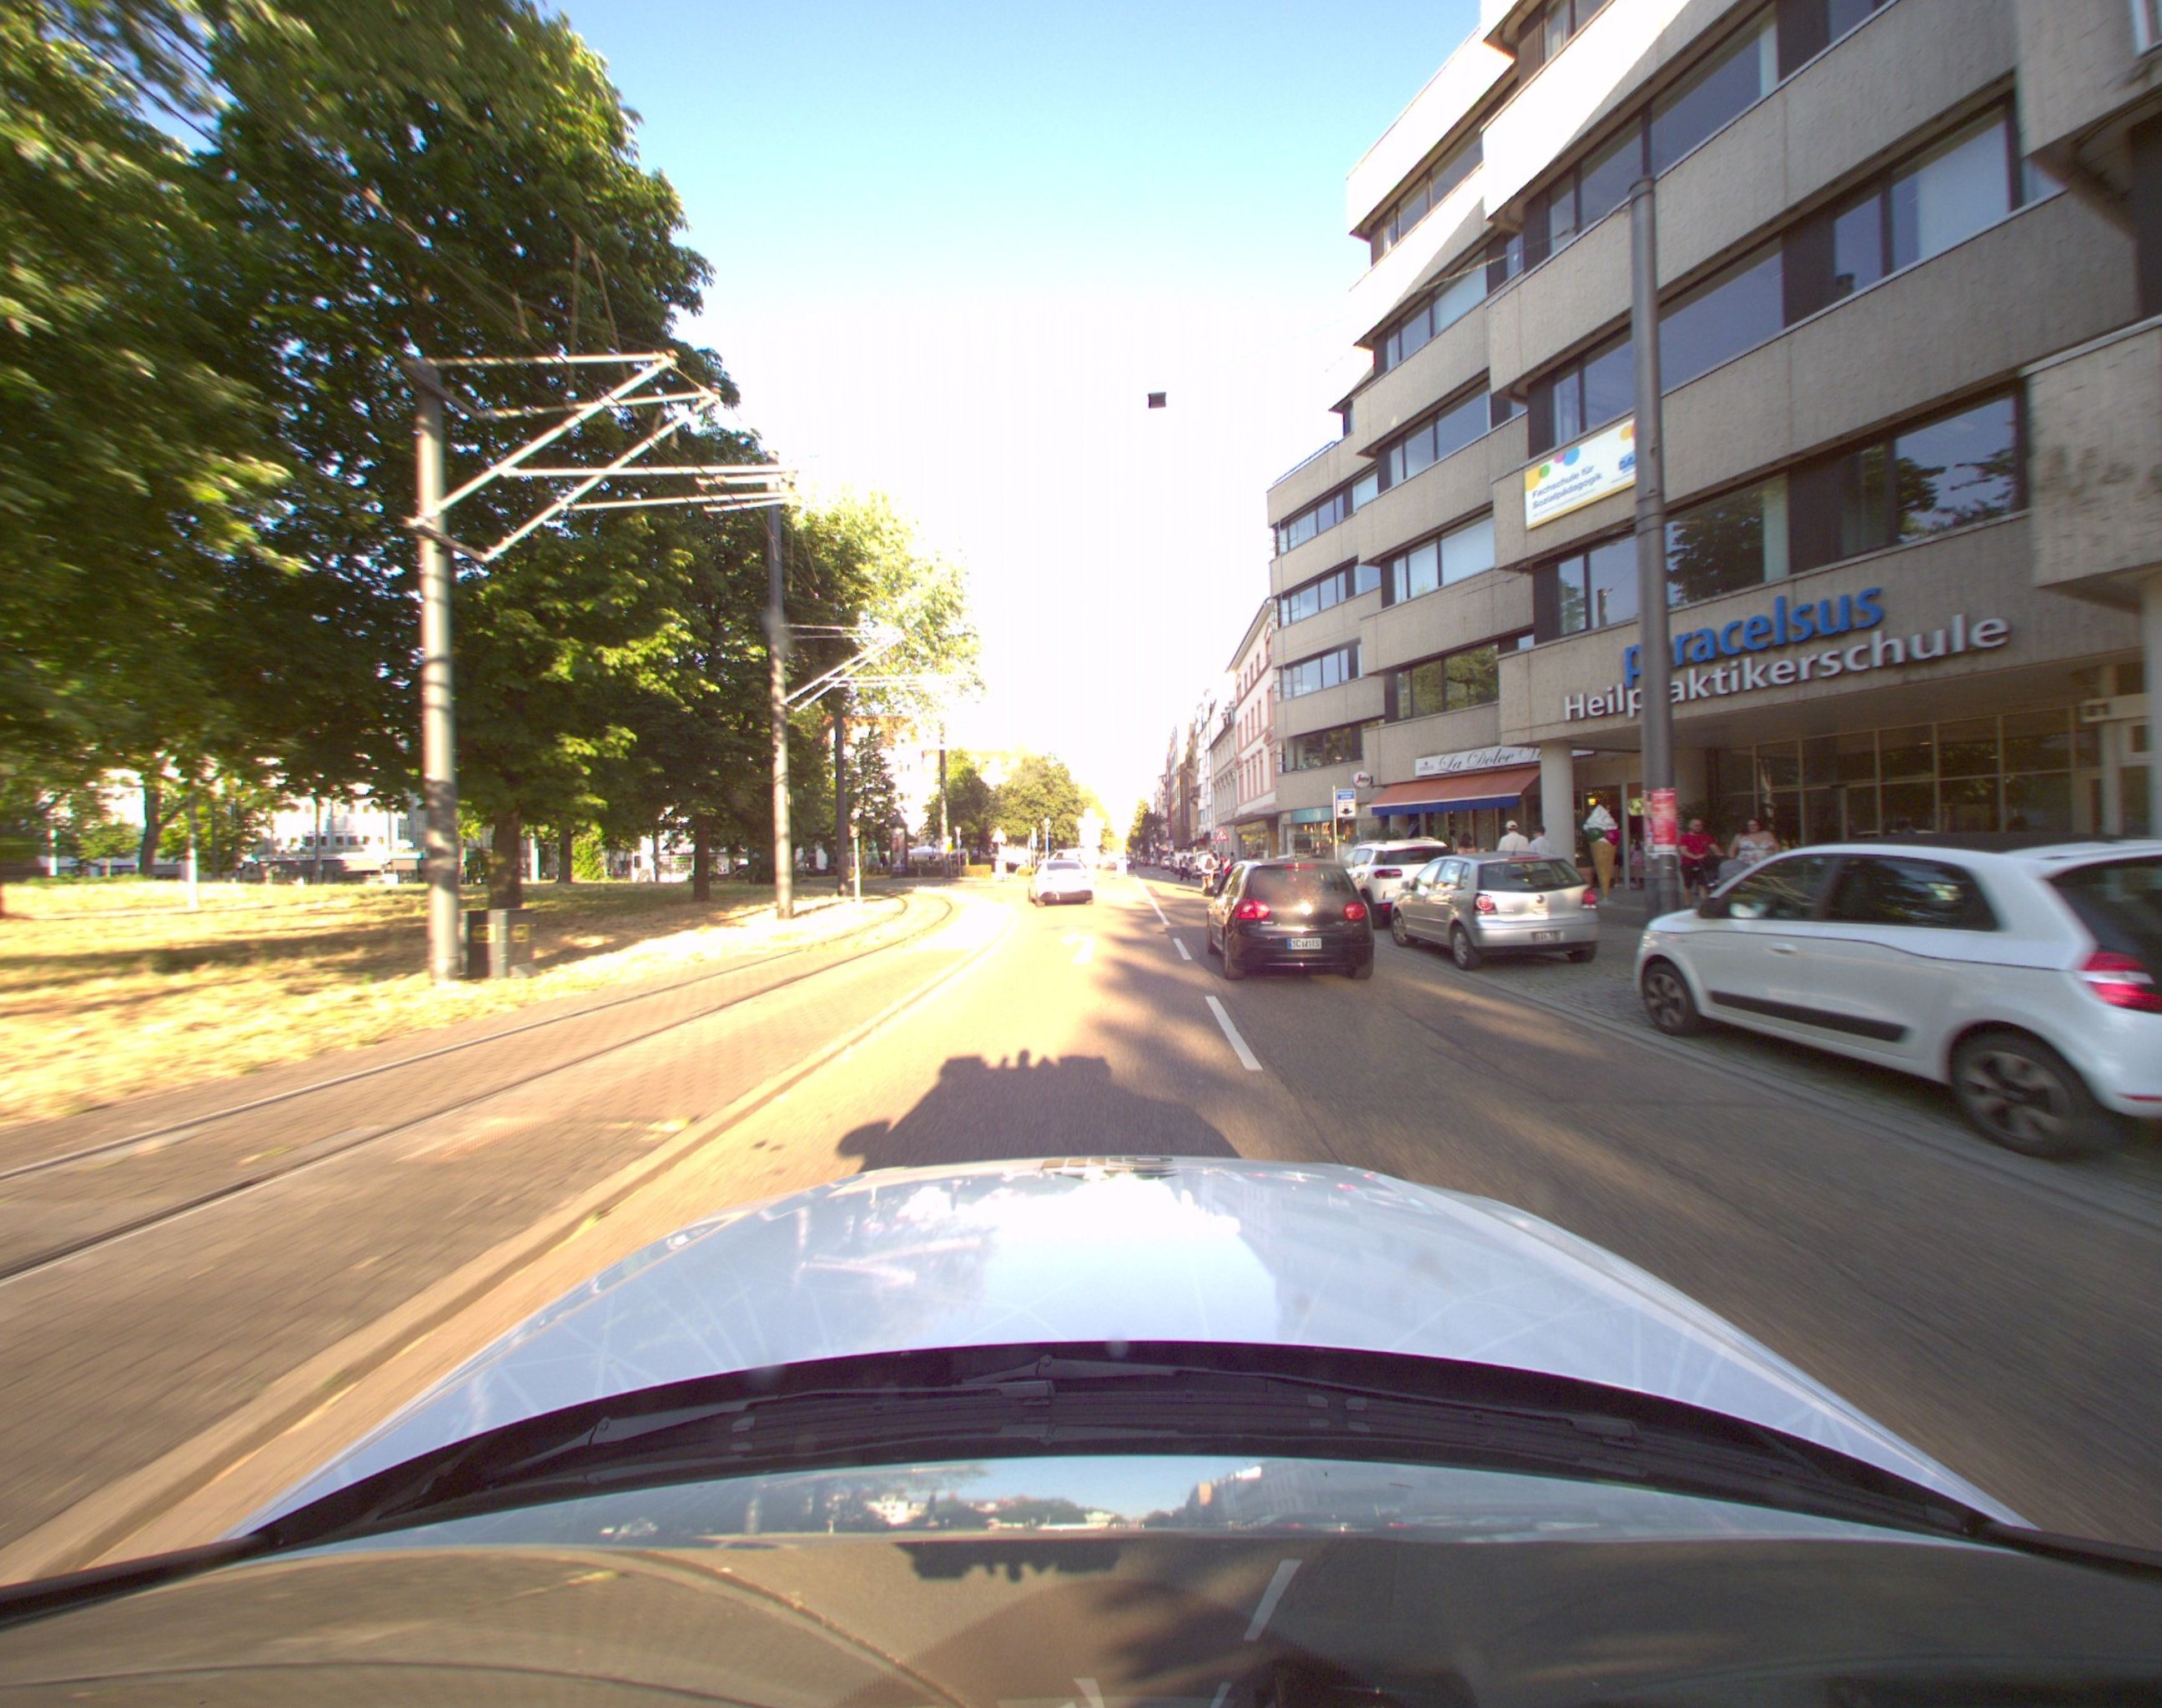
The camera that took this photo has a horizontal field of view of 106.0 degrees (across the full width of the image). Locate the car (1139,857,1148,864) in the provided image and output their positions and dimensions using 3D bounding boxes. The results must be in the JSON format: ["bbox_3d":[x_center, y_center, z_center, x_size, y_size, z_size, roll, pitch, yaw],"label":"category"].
[{"bbox_3d":[13.532,1.367,177.216,1.745,1.511,3.546,-3,0,1],"label":"car"}]

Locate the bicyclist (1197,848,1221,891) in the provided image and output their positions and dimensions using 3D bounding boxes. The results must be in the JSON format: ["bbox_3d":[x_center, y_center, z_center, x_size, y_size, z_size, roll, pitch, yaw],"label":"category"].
[{"bbox_3d":[4.922,0.594,31.323,0.774,1.618,1.026,0,-1,2],"label":"bicyclist"}]

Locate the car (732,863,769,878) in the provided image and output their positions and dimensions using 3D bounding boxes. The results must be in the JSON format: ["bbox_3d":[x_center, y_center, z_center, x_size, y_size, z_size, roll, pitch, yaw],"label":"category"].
[{"bbox_3d":[-36.086,1.814,88.986,3.625,1.552,1.651,-1,-1,-20],"label":"car"}]

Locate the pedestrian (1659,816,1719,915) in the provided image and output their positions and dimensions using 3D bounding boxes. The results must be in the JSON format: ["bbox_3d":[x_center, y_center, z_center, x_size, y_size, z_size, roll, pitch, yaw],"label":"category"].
[{"bbox_3d":[11.102,0.192,14.862,0.690,1.727,1.039,-3,0,44],"label":"pedestrian"}]

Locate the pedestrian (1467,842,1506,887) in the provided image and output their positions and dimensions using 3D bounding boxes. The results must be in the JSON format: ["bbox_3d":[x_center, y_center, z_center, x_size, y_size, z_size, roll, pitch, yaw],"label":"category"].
[{"bbox_3d":[12.004,0.318,24.119,0.770,1.281,0.656,-3,-1,-26],"label":"pedestrian"}]

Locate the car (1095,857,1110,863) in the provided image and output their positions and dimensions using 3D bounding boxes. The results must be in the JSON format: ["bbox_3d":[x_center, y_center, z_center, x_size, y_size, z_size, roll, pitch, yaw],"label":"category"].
[{"bbox_3d":[5.229,1.459,200.131,3.381,1.287,1.665,-1,0,-13],"label":"car"}]

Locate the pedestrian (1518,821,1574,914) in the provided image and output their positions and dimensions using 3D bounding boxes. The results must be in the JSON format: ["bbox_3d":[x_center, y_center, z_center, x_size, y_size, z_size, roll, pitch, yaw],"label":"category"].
[{"bbox_3d":[9.121,0.257,16.009,0.620,1.740,0.662,-4,-1,3],"label":"pedestrian"}]

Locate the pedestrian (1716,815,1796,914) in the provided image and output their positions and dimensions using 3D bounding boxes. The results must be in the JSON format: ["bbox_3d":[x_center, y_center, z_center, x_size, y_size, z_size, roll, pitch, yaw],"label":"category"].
[{"bbox_3d":[11.849,0.185,14.311,0.980,1.673,0.645,-3,0,44],"label":"pedestrian"}]

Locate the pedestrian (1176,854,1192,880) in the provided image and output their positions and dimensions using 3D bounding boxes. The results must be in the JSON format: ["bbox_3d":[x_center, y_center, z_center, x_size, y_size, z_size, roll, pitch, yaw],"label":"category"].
[{"bbox_3d":[6.211,0.784,49.183,0.729,1.555,0.636,-1,-1,28],"label":"pedestrian"}]

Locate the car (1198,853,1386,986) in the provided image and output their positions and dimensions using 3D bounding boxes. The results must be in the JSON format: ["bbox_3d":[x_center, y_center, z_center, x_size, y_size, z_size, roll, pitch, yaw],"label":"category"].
[{"bbox_3d":[2.658,0.737,11.178,1.740,1.461,4.107,-1,0,4],"label":"car"}]

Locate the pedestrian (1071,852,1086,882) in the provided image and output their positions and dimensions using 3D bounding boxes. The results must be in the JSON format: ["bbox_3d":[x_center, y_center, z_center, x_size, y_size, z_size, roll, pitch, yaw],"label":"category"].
[{"bbox_3d":[-0.159,0.769,48.063,0.858,1.706,0.940,-1,-1,-4],"label":"pedestrian"}]

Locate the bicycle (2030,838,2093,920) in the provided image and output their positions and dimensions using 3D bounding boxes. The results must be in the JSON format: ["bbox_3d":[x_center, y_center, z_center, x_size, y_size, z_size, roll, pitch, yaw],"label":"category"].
[{"bbox_3d":[14.393,0.342,11.943,1.767,1.072,0.478,-3,0,-37],"label":"bicycle"}]

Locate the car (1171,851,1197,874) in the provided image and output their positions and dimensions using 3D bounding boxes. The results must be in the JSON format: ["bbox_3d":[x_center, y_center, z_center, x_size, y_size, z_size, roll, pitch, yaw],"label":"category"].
[{"bbox_3d":[8.964,0.714,71.142,1.917,1.841,4.021,-3,-1,4],"label":"car"}]

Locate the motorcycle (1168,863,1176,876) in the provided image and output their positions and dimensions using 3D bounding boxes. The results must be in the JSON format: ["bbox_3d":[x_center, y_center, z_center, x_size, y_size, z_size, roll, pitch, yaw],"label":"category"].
[{"bbox_3d":[8.985,1.500,80.425,0.486,1.174,1.604,-4,0,-4],"label":"motorcycle"}]

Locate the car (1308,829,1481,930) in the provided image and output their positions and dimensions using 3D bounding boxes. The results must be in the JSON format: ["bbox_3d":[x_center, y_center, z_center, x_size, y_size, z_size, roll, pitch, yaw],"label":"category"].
[{"bbox_3d":[6.340,0.467,17.091,1.861,1.713,4.505,-4,0,1],"label":"car"}]

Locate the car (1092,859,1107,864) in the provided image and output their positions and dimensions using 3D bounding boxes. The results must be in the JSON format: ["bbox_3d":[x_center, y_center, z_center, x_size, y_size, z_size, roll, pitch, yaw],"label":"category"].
[{"bbox_3d":[4.324,1.731,192.375,3.381,1.287,1.665,-1,0,-13],"label":"car"}]

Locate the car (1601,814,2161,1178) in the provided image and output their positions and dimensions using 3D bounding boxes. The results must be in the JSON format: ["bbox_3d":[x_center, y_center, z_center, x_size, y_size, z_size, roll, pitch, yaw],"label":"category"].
[{"bbox_3d":[5.412,0.607,5.406,1.601,1.556,3.611,-4,0,2],"label":"car"}]

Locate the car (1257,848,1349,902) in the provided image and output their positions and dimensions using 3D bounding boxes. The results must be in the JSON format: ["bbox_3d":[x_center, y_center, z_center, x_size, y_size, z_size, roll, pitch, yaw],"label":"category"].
[{"bbox_3d":[6.736,0.599,25.124,1.657,1.441,3.821,-4,0,-1],"label":"car"}]

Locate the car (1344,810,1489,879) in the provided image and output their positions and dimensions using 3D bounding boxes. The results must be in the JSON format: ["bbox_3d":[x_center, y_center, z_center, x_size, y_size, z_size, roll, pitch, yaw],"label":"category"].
[{"bbox_3d":[13.324,-0.377,32.292,5.340,2.442,2.075,-3,-1,-23],"label":"car"}]

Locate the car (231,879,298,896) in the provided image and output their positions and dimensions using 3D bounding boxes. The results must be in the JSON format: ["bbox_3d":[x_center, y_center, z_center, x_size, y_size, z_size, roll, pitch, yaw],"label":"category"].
[{"bbox_3d":[-78.588,3.199,78.452,4.002,1.464,1.986,-1,-1,-21],"label":"car"}]

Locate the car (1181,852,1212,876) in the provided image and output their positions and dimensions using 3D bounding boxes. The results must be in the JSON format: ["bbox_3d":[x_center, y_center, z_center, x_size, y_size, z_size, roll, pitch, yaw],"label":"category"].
[{"bbox_3d":[8.270,0.697,58.622,1.728,1.617,3.919,-3,0,2],"label":"car"}]

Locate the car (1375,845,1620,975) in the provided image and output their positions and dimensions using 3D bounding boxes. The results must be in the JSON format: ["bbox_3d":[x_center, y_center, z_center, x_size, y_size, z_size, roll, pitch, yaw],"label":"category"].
[{"bbox_3d":[5.657,0.667,11.643,1.655,1.441,3.858,-4,0,4],"label":"car"}]

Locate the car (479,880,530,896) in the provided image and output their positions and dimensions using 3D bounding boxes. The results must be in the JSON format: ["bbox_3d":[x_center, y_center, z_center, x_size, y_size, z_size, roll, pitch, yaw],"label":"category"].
[{"bbox_3d":[-57.990,3.415,81.928,3.976,1.463,1.573,-1,-1,-43],"label":"car"}]

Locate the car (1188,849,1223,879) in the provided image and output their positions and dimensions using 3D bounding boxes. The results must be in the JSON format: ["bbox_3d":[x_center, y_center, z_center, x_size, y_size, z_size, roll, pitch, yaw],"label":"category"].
[{"bbox_3d":[8.105,0.630,53.325,1.728,1.800,3.919,-3,-1,2],"label":"car"}]

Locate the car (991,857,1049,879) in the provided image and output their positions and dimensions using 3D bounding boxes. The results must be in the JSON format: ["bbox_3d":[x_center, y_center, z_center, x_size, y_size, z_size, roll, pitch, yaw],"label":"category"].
[{"bbox_3d":[-4.694,1.064,62.871,4.012,1.552,1.860,-1,-1,-31],"label":"car"}]

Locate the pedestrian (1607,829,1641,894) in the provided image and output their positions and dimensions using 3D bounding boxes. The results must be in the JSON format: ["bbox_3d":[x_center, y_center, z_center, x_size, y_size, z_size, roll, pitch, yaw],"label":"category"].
[{"bbox_3d":[15.010,0.206,22.501,0.599,1.760,0.518,0,0,-21],"label":"pedestrian"}]

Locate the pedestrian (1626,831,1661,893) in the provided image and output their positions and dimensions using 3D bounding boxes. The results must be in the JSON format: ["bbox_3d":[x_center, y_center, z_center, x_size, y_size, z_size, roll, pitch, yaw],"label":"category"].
[{"bbox_3d":[15.196,0.202,21.998,0.599,1.649,0.518,0,0,-21],"label":"pedestrian"}]

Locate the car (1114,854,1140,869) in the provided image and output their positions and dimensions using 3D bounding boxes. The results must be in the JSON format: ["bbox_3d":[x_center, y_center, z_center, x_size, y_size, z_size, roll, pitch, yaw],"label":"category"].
[{"bbox_3d":[5.917,0.974,104.205,1.975,1.772,4.023,-1,0,24],"label":"car"}]

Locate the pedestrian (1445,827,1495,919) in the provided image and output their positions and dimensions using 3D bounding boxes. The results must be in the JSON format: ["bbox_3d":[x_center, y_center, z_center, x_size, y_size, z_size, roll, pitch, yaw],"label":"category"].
[{"bbox_3d":[7.741,0.381,16.242,0.576,1.760,0.662,-4,-1,4],"label":"pedestrian"}]

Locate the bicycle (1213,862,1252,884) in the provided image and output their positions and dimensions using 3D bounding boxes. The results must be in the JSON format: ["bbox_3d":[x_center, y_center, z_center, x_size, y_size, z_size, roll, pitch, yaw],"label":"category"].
[{"bbox_3d":[7.775,0.996,41.942,1.828,1.045,0.584,-4,0,33],"label":"bicycle"}]

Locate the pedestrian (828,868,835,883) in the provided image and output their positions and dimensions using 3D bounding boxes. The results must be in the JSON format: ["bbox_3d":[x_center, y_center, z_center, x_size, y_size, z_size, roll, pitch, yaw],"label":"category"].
[{"bbox_3d":[-25.270,2.149,82.528,0.533,1.497,0.659,-1,-1,-4],"label":"pedestrian"}]

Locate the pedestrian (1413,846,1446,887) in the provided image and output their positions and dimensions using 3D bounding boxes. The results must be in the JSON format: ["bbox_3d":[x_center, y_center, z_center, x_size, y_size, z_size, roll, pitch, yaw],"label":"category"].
[{"bbox_3d":[11.182,0.411,26.149,0.654,1.281,0.656,-3,-1,-28],"label":"pedestrian"}]

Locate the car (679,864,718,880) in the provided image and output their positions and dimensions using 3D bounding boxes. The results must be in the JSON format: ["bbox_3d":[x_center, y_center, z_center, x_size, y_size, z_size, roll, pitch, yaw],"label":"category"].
[{"bbox_3d":[-40.909,1.929,87.254,3.625,1.552,1.651,-1,-1,-20],"label":"car"}]

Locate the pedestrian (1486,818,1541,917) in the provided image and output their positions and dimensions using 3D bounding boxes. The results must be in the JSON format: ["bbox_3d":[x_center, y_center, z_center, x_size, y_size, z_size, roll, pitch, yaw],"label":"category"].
[{"bbox_3d":[8.488,0.265,16.007,0.620,1.858,0.662,-4,-1,3],"label":"pedestrian"}]

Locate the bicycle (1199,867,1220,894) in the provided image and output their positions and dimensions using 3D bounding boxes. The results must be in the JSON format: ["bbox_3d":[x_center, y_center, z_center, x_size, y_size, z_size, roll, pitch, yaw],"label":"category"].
[{"bbox_3d":[4.936,1.006,31.260,0.576,0.987,1.937,0,0,2],"label":"bicycle"}]

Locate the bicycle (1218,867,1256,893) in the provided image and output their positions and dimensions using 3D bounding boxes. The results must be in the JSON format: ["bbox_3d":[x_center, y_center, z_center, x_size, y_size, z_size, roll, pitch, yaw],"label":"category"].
[{"bbox_3d":[7.253,1.194,37.896,1.586,1.119,0.616,-4,0,36],"label":"bicycle"}]

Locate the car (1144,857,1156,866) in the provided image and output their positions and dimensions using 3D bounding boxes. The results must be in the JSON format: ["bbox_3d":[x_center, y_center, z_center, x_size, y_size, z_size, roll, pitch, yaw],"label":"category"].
[{"bbox_3d":[12.208,1.266,144.603,1.745,1.511,3.546,-3,0,1],"label":"car"}]

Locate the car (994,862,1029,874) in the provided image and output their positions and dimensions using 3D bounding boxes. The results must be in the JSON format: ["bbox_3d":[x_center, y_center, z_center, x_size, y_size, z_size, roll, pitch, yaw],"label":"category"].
[{"bbox_3d":[-8.634,1.734,101.413,4.001,1.301,1.840,-1,-1,-21],"label":"car"}]

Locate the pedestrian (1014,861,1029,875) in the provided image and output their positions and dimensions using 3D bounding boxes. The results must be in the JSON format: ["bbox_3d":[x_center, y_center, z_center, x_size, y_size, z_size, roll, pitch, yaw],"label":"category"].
[{"bbox_3d":[-5.235,1.247,71.868,1.102,1.226,0.853,0,-1,-24],"label":"pedestrian"}]

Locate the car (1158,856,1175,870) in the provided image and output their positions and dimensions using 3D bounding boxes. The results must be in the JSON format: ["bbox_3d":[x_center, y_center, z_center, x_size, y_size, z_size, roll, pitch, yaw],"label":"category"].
[{"bbox_3d":[10.235,1.097,97.433,1.745,1.511,3.546,-3,0,1],"label":"car"}]

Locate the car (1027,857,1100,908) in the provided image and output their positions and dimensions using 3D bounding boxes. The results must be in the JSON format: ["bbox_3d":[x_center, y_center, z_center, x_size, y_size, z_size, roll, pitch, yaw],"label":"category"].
[{"bbox_3d":[-0.673,0.882,26.918,1.864,1.441,4.185,-3,0,-8],"label":"car"}]

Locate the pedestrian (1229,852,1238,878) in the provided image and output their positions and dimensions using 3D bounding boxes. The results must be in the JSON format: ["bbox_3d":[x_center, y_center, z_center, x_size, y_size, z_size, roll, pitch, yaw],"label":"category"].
[{"bbox_3d":[9.723,0.701,51.940,0.500,1.625,0.497,0,0,2],"label":"pedestrian"}]

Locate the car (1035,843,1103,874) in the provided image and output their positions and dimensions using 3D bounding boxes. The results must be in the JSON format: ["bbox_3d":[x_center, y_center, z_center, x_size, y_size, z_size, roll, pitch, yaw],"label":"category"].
[{"bbox_3d":[-1.027,0.354,71.259,5.537,2.595,2.138,-1,-1,-24],"label":"car"}]

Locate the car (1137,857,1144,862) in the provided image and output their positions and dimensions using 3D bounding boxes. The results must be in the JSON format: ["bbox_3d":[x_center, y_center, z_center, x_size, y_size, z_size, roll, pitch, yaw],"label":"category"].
[{"bbox_3d":[18.247,1.691,249.950,1.745,1.511,3.546,-3,0,1],"label":"car"}]

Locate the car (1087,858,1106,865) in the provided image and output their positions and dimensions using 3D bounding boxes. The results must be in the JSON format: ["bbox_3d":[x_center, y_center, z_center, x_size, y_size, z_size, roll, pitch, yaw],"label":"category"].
[{"bbox_3d":[3.093,1.476,161.191,3.381,1.287,1.665,-1,0,-13],"label":"car"}]
